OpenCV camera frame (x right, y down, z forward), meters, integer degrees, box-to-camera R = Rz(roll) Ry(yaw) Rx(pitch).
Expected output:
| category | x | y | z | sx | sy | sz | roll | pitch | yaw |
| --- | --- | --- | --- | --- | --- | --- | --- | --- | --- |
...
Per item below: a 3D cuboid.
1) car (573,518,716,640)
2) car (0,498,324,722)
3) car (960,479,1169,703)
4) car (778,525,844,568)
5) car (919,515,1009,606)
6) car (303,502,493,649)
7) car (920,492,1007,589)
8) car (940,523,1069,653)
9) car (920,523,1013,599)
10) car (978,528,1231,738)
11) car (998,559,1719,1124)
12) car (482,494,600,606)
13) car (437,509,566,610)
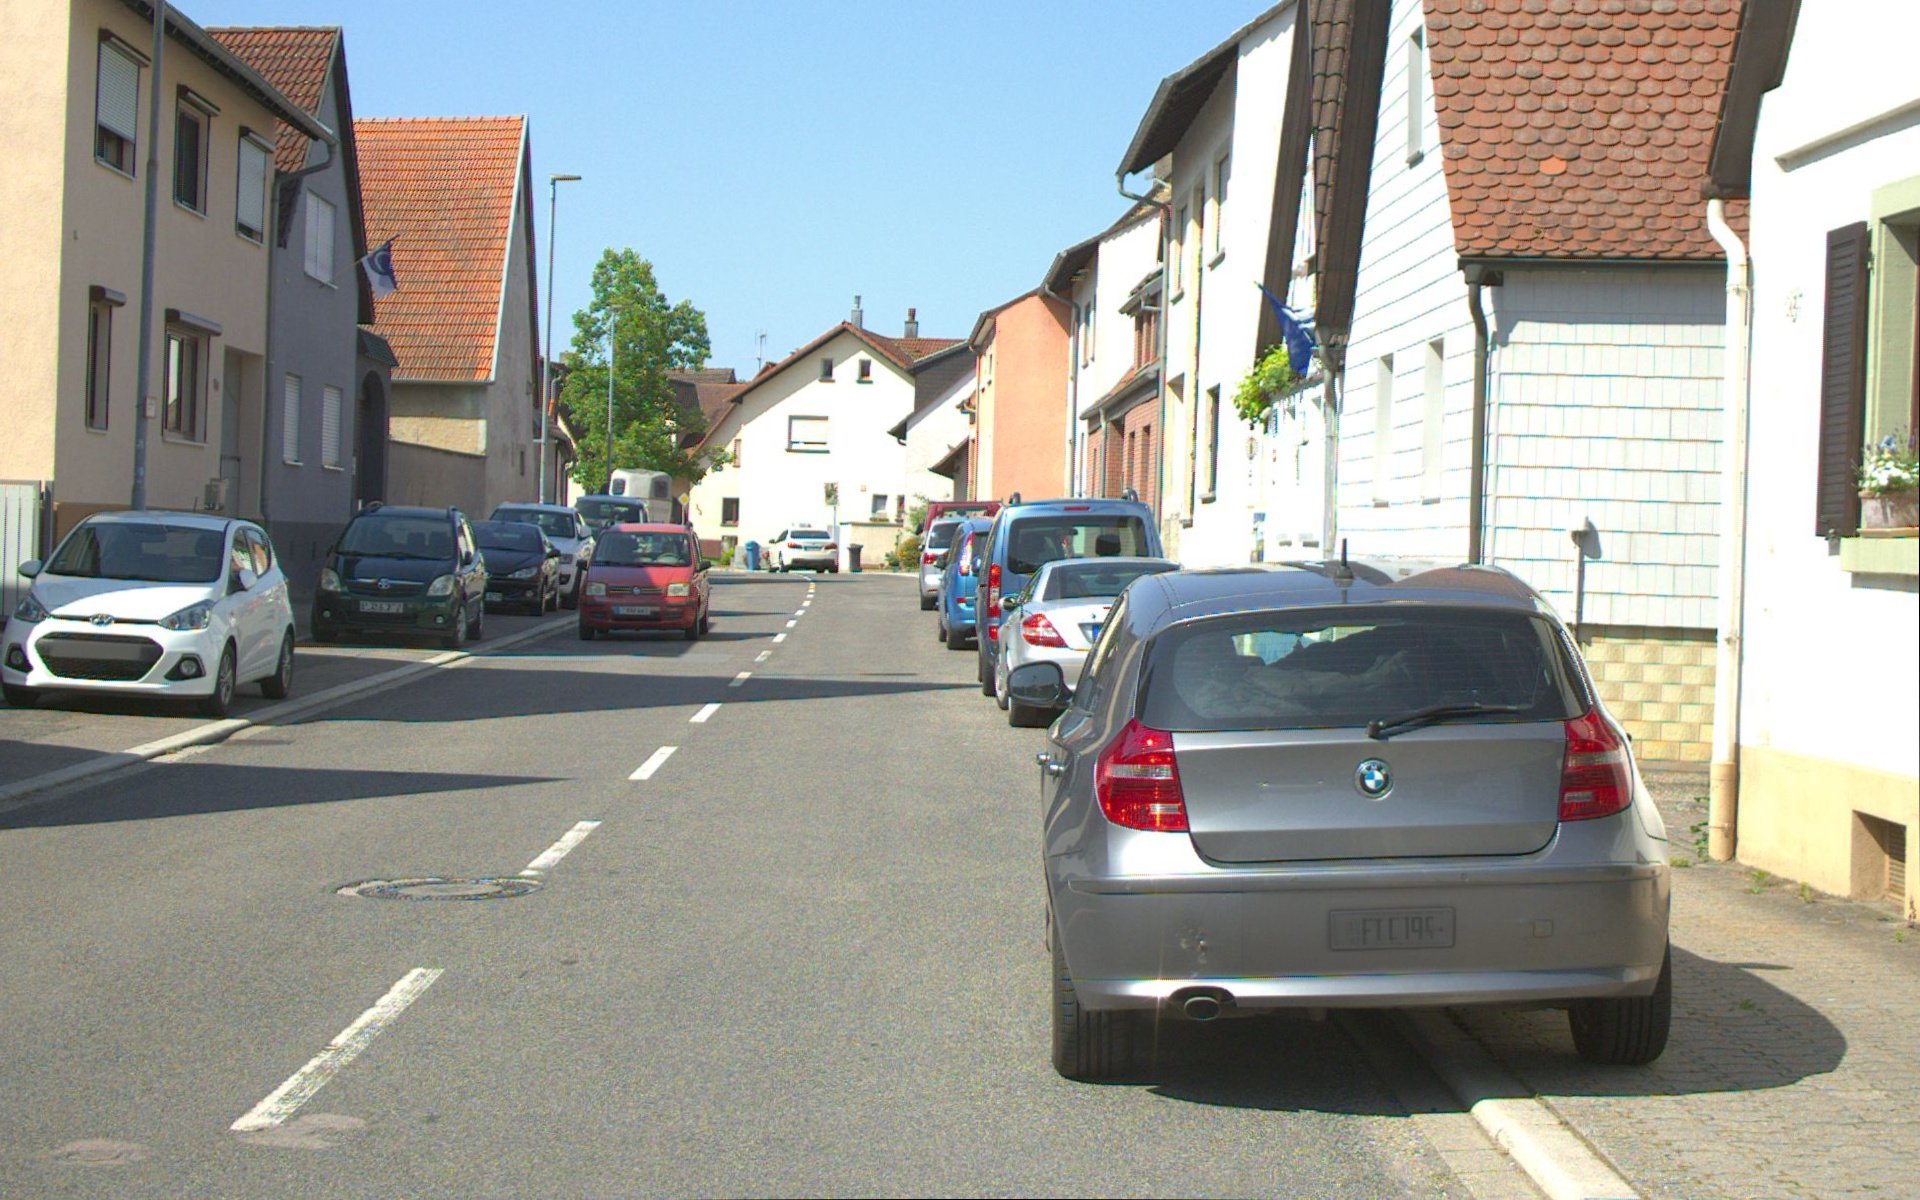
| category | x | y | z | sx | sy | sz | roll | pitch | yaw |
| --- | --- | --- | --- | --- | --- | --- | --- | --- | --- |
| car | -4.180 | -0.299 | 45.929 | 1.601 | 1.484 | 3.626 | 3 | 1 | -2 |
| car | -6.351 | 0.031 | 27.037 | 1.806 | 1.542 | 4.404 | 3 | 1 | 0 |
| car | 0.923 | -0.108 | 32.141 | 1.649 | 1.903 | 3.626 | 3 | 1 | -2 |
| car | -4.775 | -1.714 | 110.747 | 1.993 | 1.284 | 4.000 | 2 | 1 | -1 |
| car | 0.043 | -0.710 | 60.884 | 1.420 | 1.510 | 3.304 | 3 | 1 | -2 |
| car | -6.559 | -0.307 | 40.424 | 1.619 | 1.572 | 3.962 | 3 | 1 | -2 |
| car | 0.067 | -1.273 | 74.039 | 1.767 | 1.997 | 3.450 | 2 | 0 | 0 |
| car | 0.533 | -0.169 | 43.326 | 1.420 | 1.510 | 3.304 | 3 | 1 | -2 |
| car | 0.121 | -0.772 | 68.744 | 1.767 | 1.428 | 3.450 | 2 | 1 | 0 |
| car | 1.090 | 0.220 | 27.421 | 1.704 | 1.491 | 3.453 | 3 | 1 | -2 |
| car | 1.047 | 0.596 | 10.774 | 1.704 | 1.428 | 3.890 | 0 | 1 | -2 |
| car | -6.886 | -0.831 | 56.722 | 1.527 | 1.707 | 3.626 | 3 | 1 | -2 |
| car | -6.939 | -0.609 | 52.301 | 1.504 | 1.448 | 3.509 | 2 | 1 | -1 |
